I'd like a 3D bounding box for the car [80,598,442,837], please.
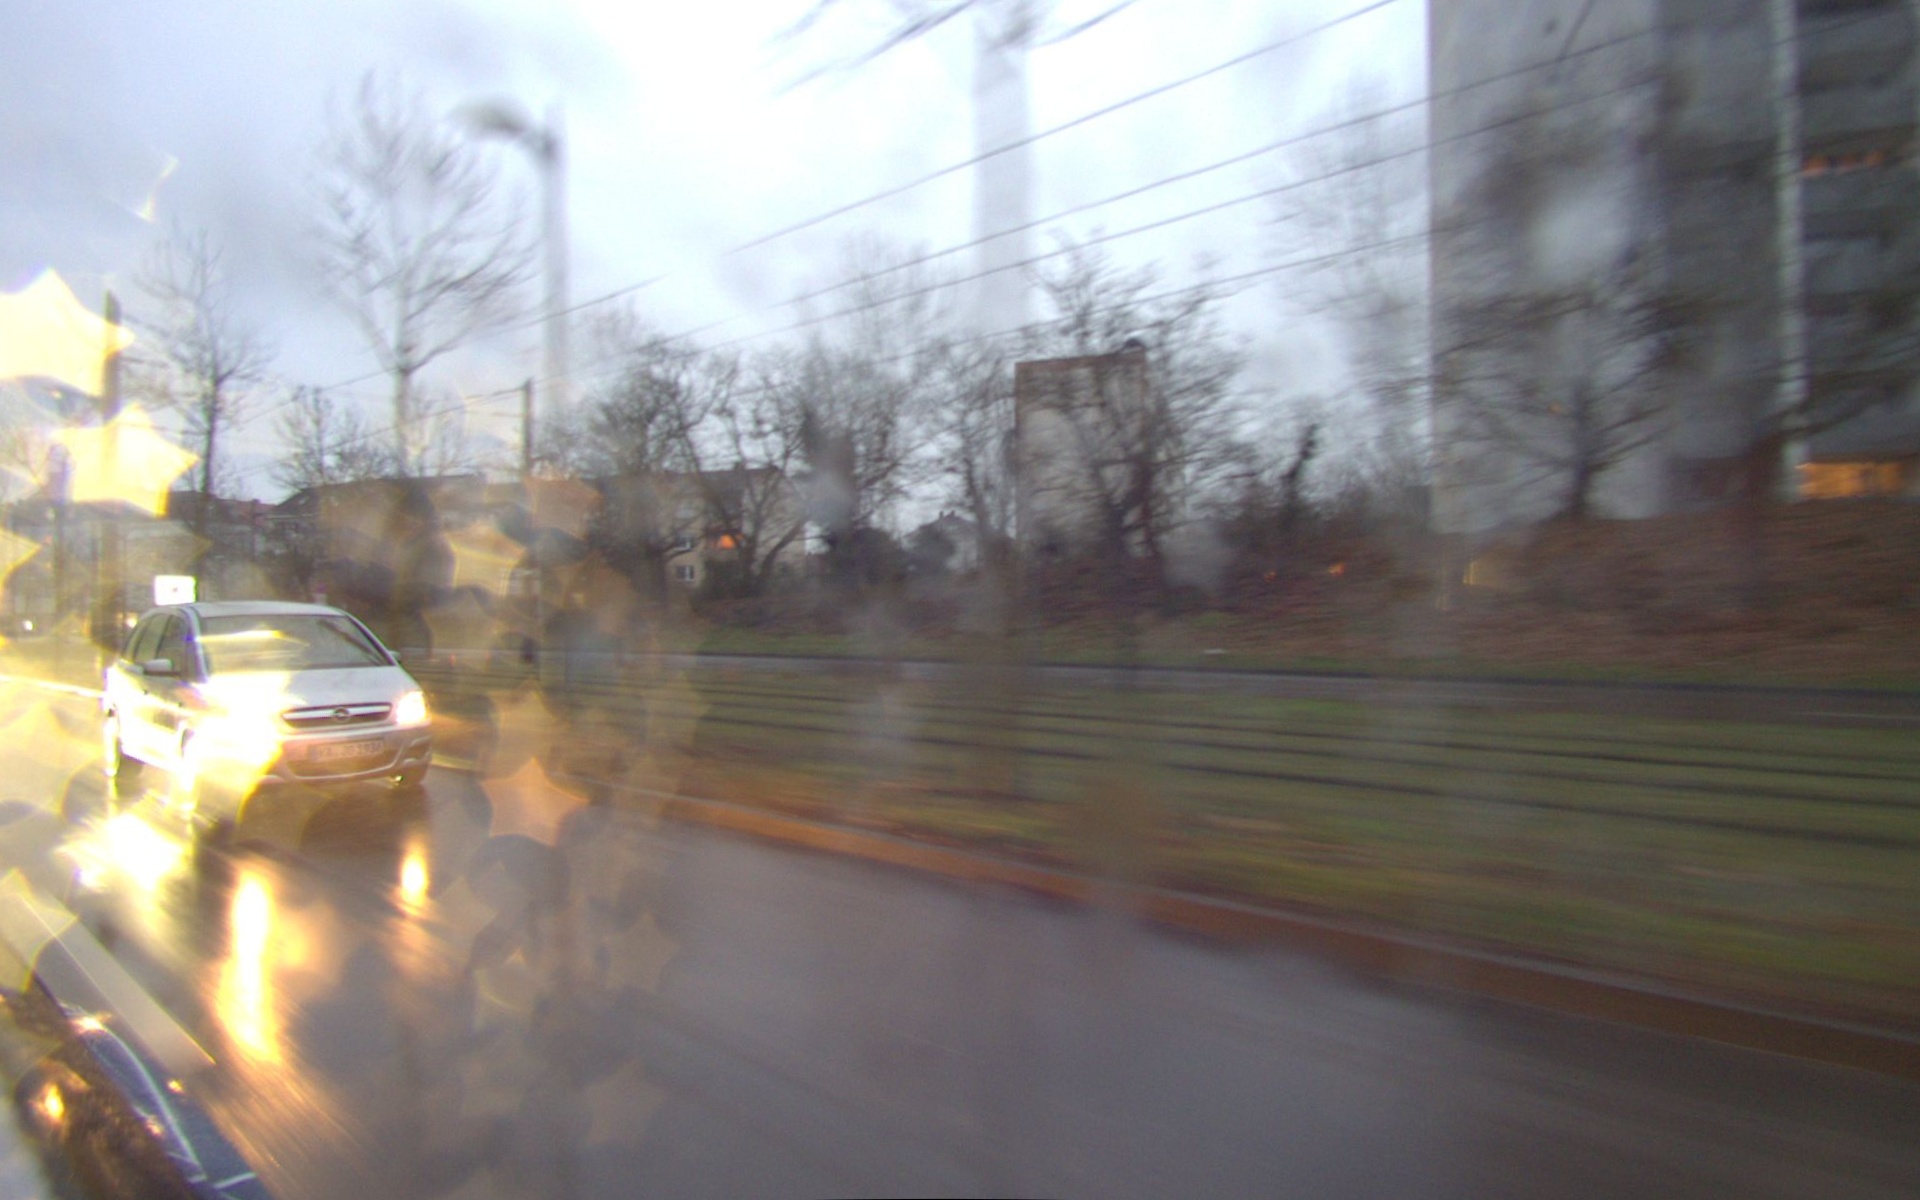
[{"bbox_3d":[-6.137,0.827,8.708,3.921,1.587,1.648,-2,0,41],"label":"car"}]
